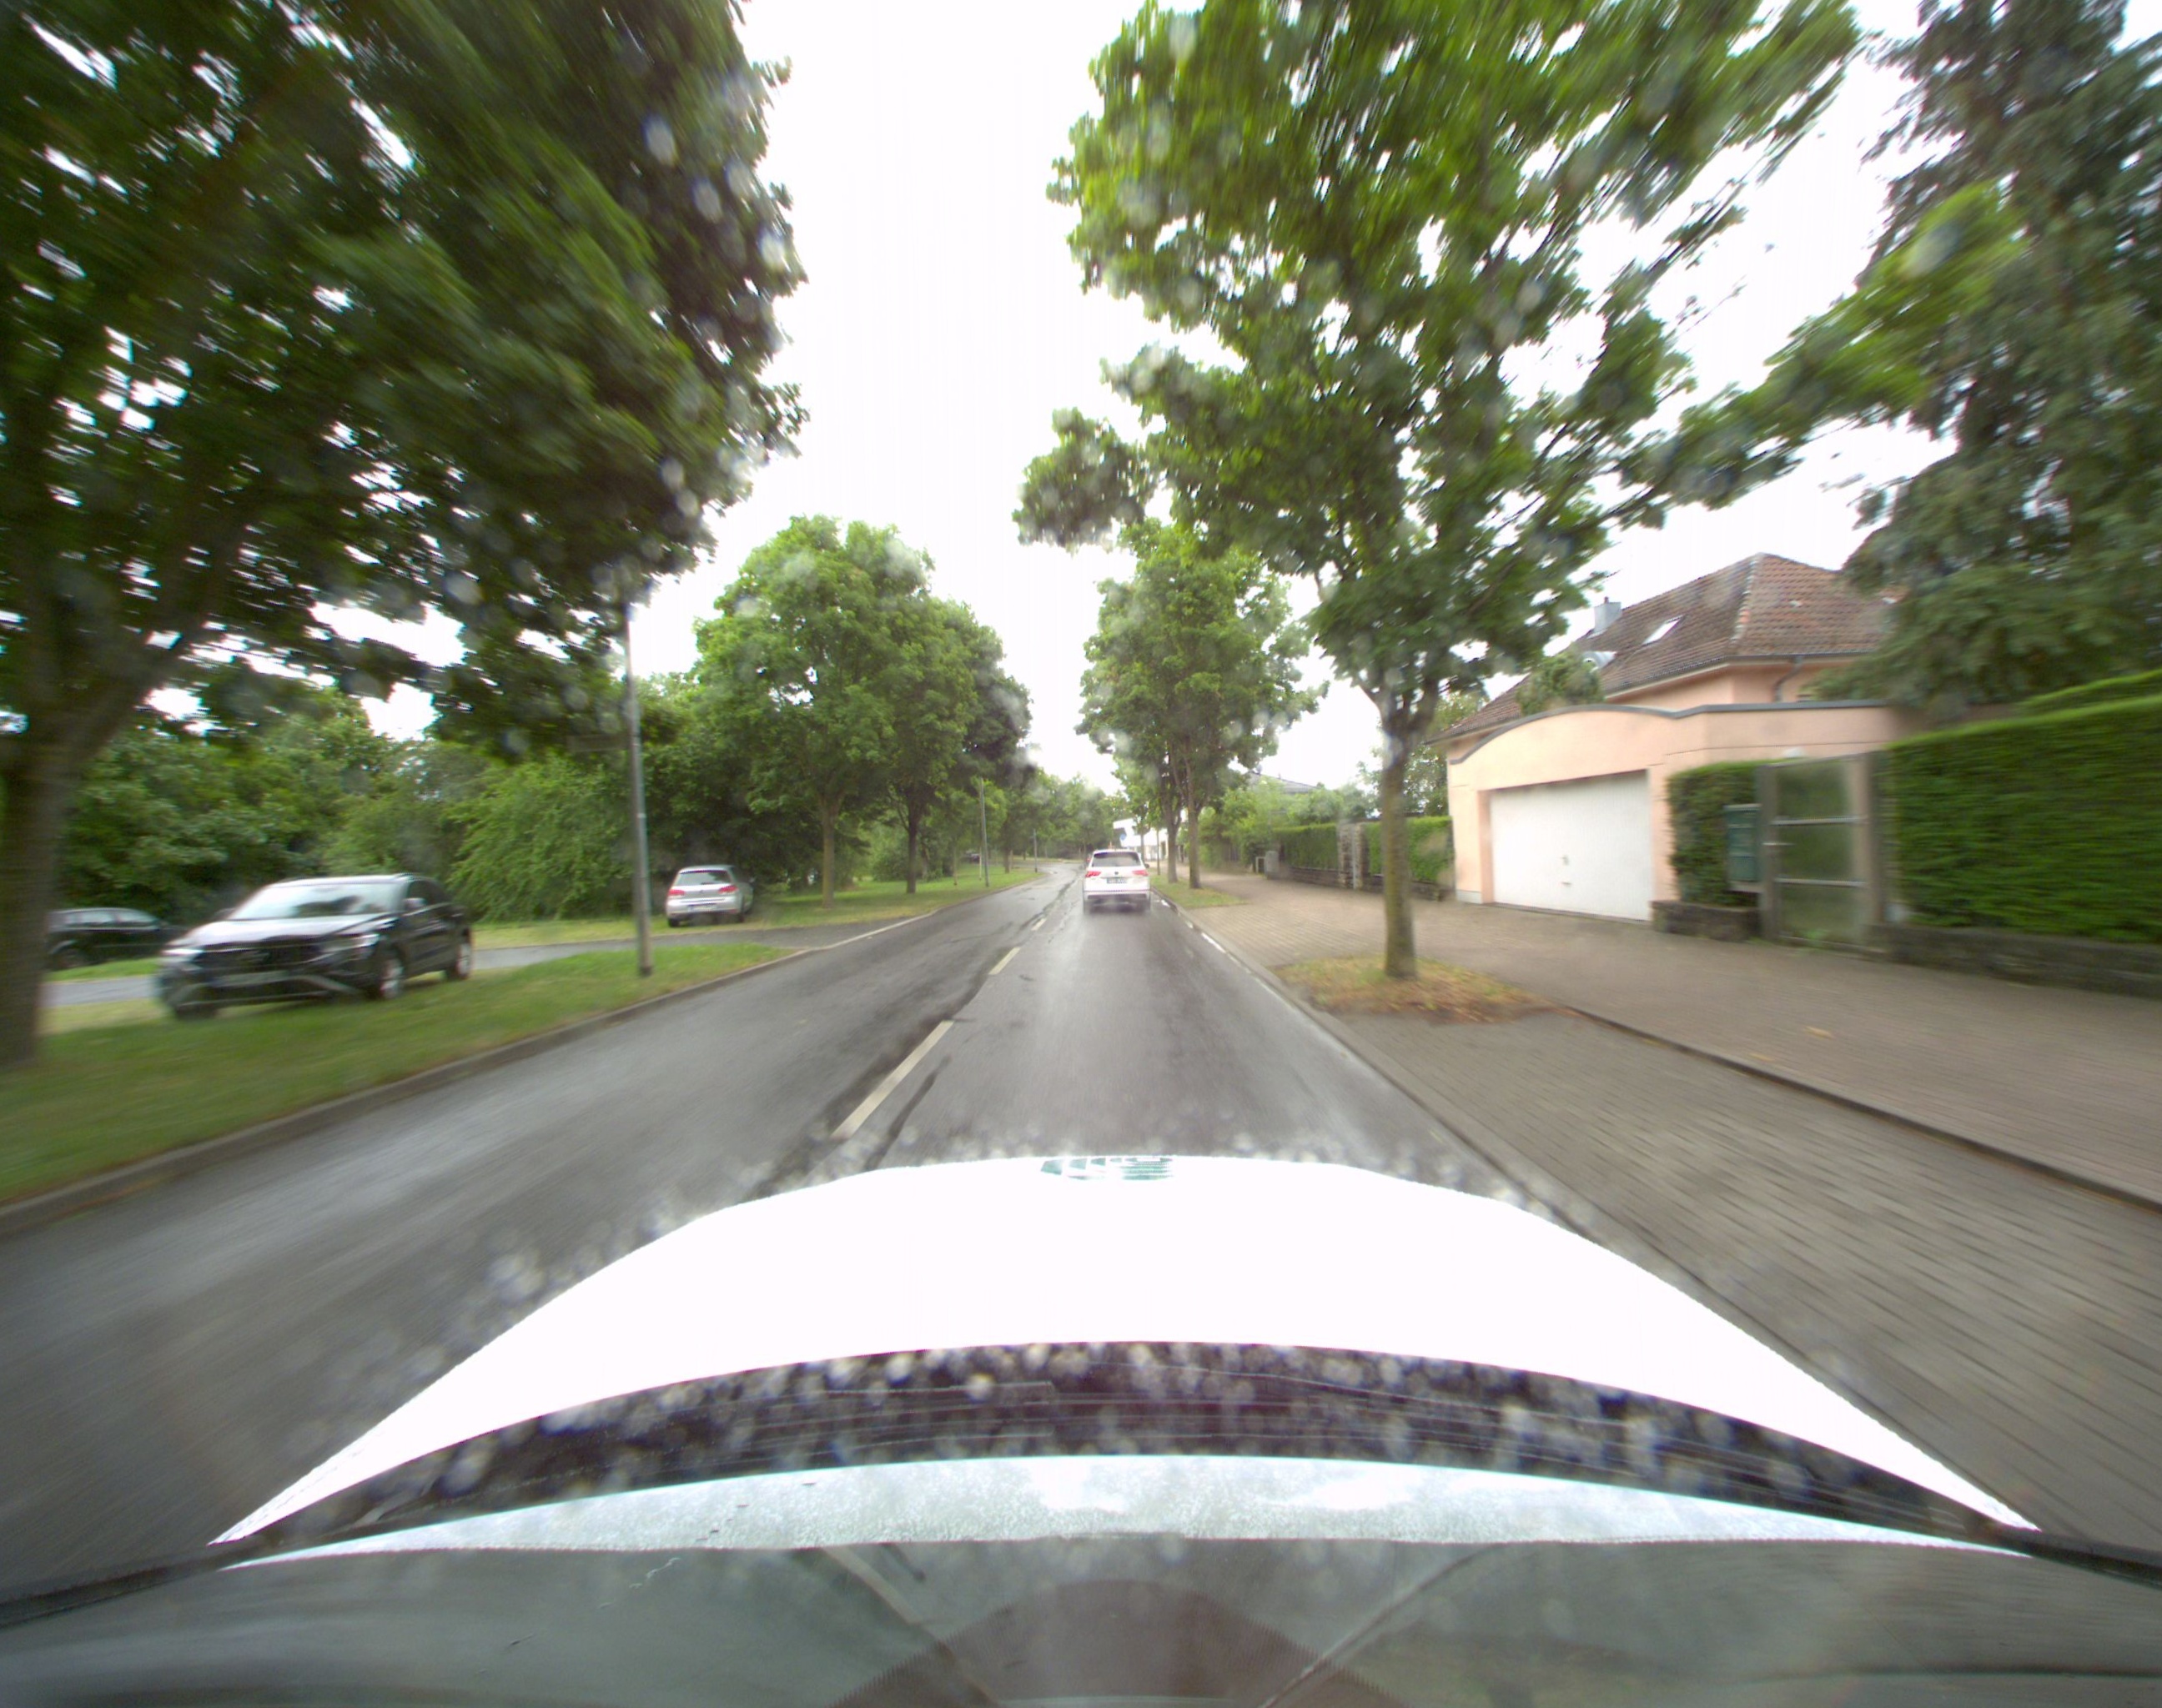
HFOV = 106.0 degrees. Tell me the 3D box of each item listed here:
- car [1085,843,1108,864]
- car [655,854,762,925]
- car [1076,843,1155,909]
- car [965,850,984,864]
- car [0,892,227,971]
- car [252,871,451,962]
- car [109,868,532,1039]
[{"bbox_3d":[1.522,-0.089,80.863,1.898,2.013,3.938,-1,0,-4],"label":"car"},{"bbox_3d":[-9.711,0.843,21.585,1.885,1.429,4.194,-3,3,-16],"label":"car"},{"bbox_3d":[0.975,0.533,22.999,1.966,1.652,4.180,-1,1,2],"label":"car"},{"bbox_3d":[-15.827,0.458,121.431,1.908,2.013,3.916,-1,0,-22],"label":"car"},{"bbox_3d":[-22.882,1.737,19.056,1.835,1.411,4.201,-3,1,-11],"label":"car"},{"bbox_3d":[-16.710,1.332,19.000,1.869,1.508,4.574,-3,3,-21],"label":"car"},{"bbox_3d":[-8.970,1.016,10.241,1.890,1.513,4.232,-2,0,-12],"label":"car"}]
